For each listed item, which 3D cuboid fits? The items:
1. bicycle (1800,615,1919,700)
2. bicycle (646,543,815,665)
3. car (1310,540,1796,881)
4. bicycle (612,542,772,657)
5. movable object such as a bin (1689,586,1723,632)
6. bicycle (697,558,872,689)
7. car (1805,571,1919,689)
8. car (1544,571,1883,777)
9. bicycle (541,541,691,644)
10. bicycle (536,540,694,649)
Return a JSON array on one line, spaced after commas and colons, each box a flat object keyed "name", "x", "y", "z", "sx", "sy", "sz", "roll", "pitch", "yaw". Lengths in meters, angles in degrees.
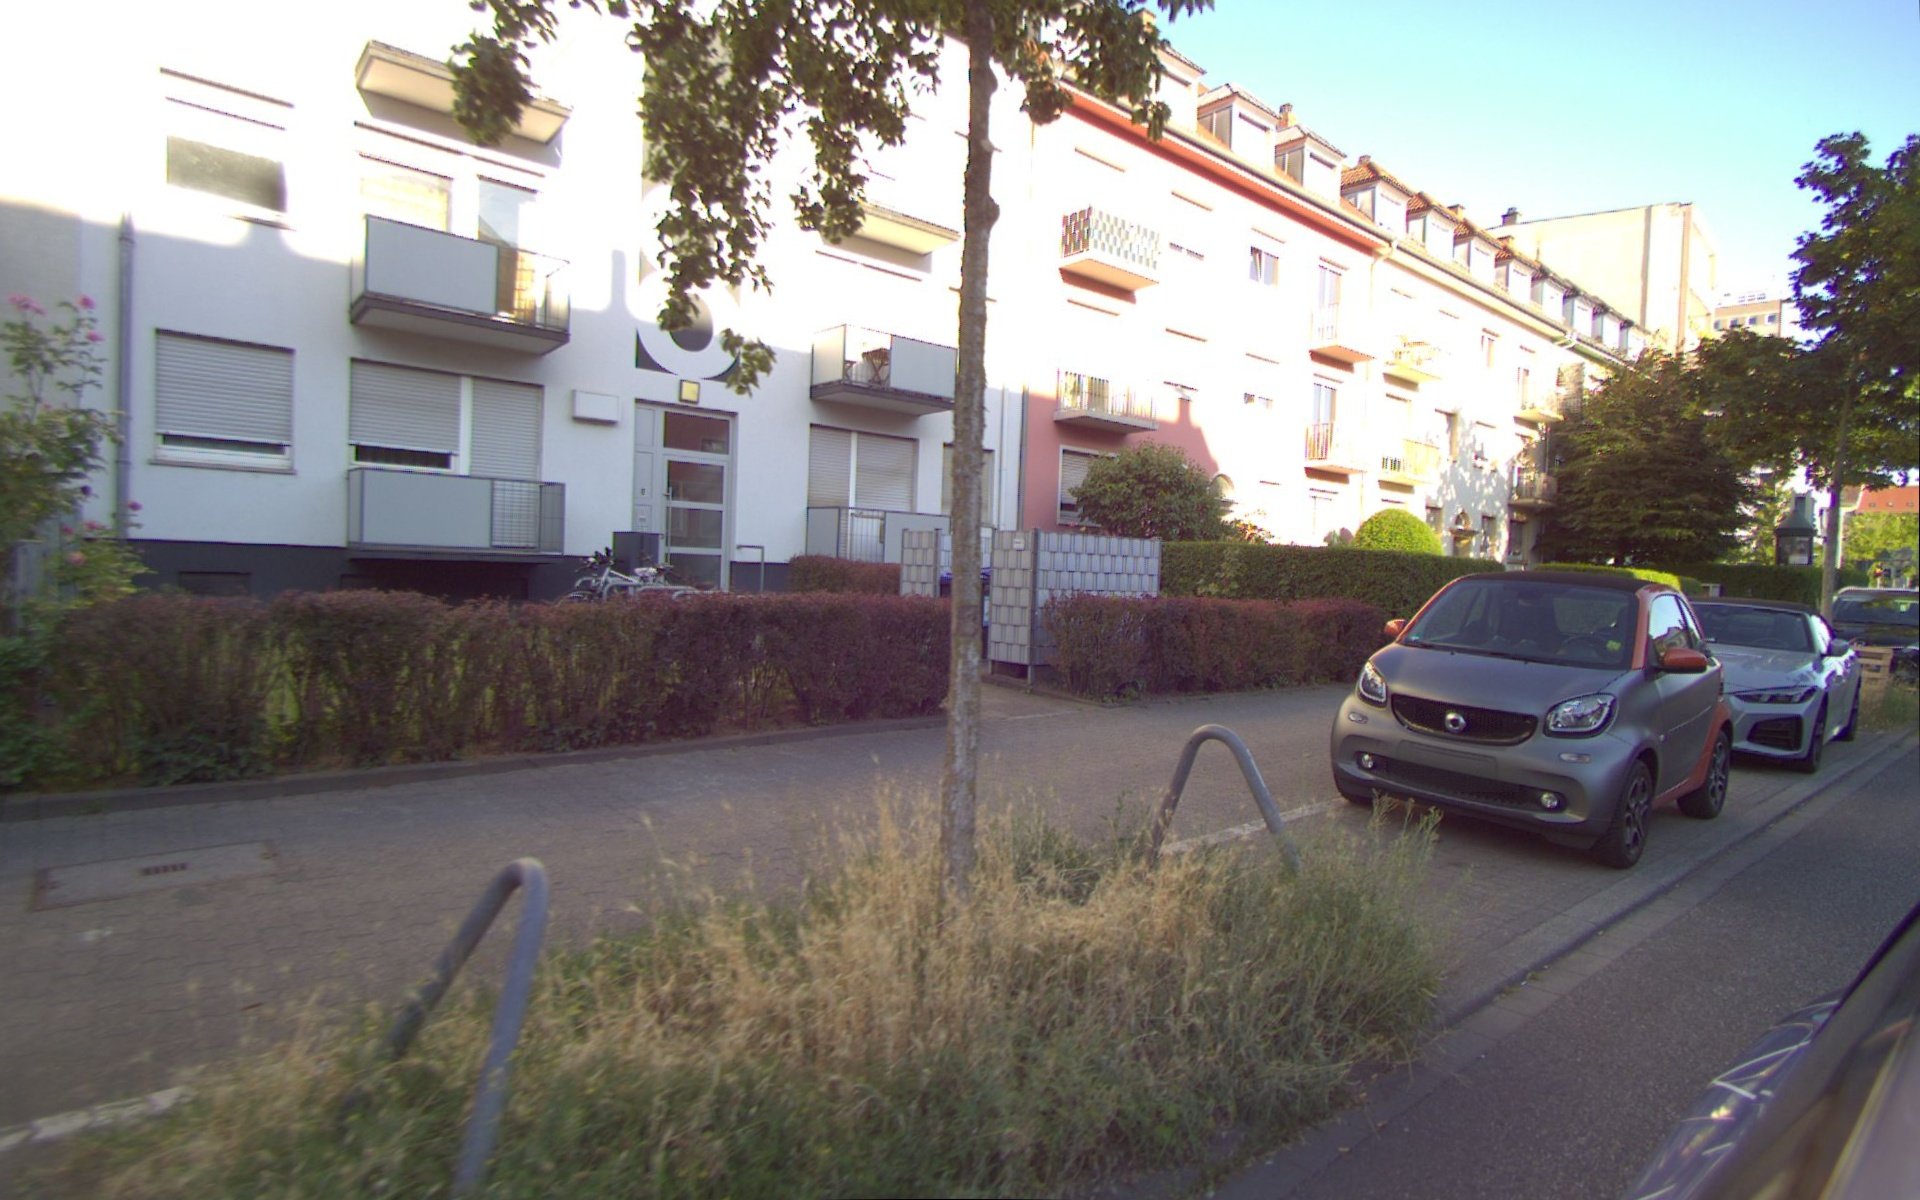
[{"name": "bicycle", "x": 12.641, "y": 0.787, "z": 14.026, "sx": 1.474, "sy": 1.072, "sz": 0.406, "roll": 3, "pitch": 2, "yaw": 38}, {"name": "bicycle", "x": -2.201, "y": 0.032, "z": 9.821, "sx": 1.517, "sy": 1.102, "sz": 0.493, "roll": 1, "pitch": 2, "yaw": -41}, {"name": "car", "x": 4.142, "y": 0.484, "z": 6.844, "sx": 3.693, "sy": 1.662, "sz": 1.776, "roll": -1, "pitch": 3, "yaw": -42}, {"name": "bicycle", "x": -2.743, "y": -0.008, "z": 10.457, "sx": 1.517, "sy": 1.102, "sz": 0.493, "roll": 1, "pitch": 2, "yaw": -41}, {"name": "movable object such as a bin", "x": 20.816, "y": 0.249, "z": 28.248, "sx": 0.814, "sy": 1.255, "sz": 0.554, "roll": 1, "pitch": 2, "yaw": -40}, {"name": "bicycle", "x": -1.577, "y": 0.198, "z": 9.248, "sx": 1.517, "sy": 1.102, "sz": 0.493, "roll": 1, "pitch": 2, "yaw": -41}, {"name": "car", "x": 15.216, "y": 0.443, "z": 16.308, "sx": 4.215, "sy": 1.671, "sz": 1.736, "roll": 1, "pitch": 2, "yaw": -41}, {"name": "car", "x": 7.594, "y": 0.554, "z": 9.992, "sx": 4.667, "sy": 1.504, "sz": 1.922, "roll": 0, "pitch": 2, "yaw": -44}, {"name": "bicycle", "x": -3.893, "y": -0.084, "z": 11.511, "sx": 1.517, "sy": 1.102, "sz": 0.493, "roll": 1, "pitch": 2, "yaw": -41}, {"name": "bicycle", "x": -3.691, "y": -0.057, "z": 10.901, "sx": 1.517, "sy": 1.102, "sz": 0.493, "roll": 1, "pitch": 2, "yaw": -41}]
